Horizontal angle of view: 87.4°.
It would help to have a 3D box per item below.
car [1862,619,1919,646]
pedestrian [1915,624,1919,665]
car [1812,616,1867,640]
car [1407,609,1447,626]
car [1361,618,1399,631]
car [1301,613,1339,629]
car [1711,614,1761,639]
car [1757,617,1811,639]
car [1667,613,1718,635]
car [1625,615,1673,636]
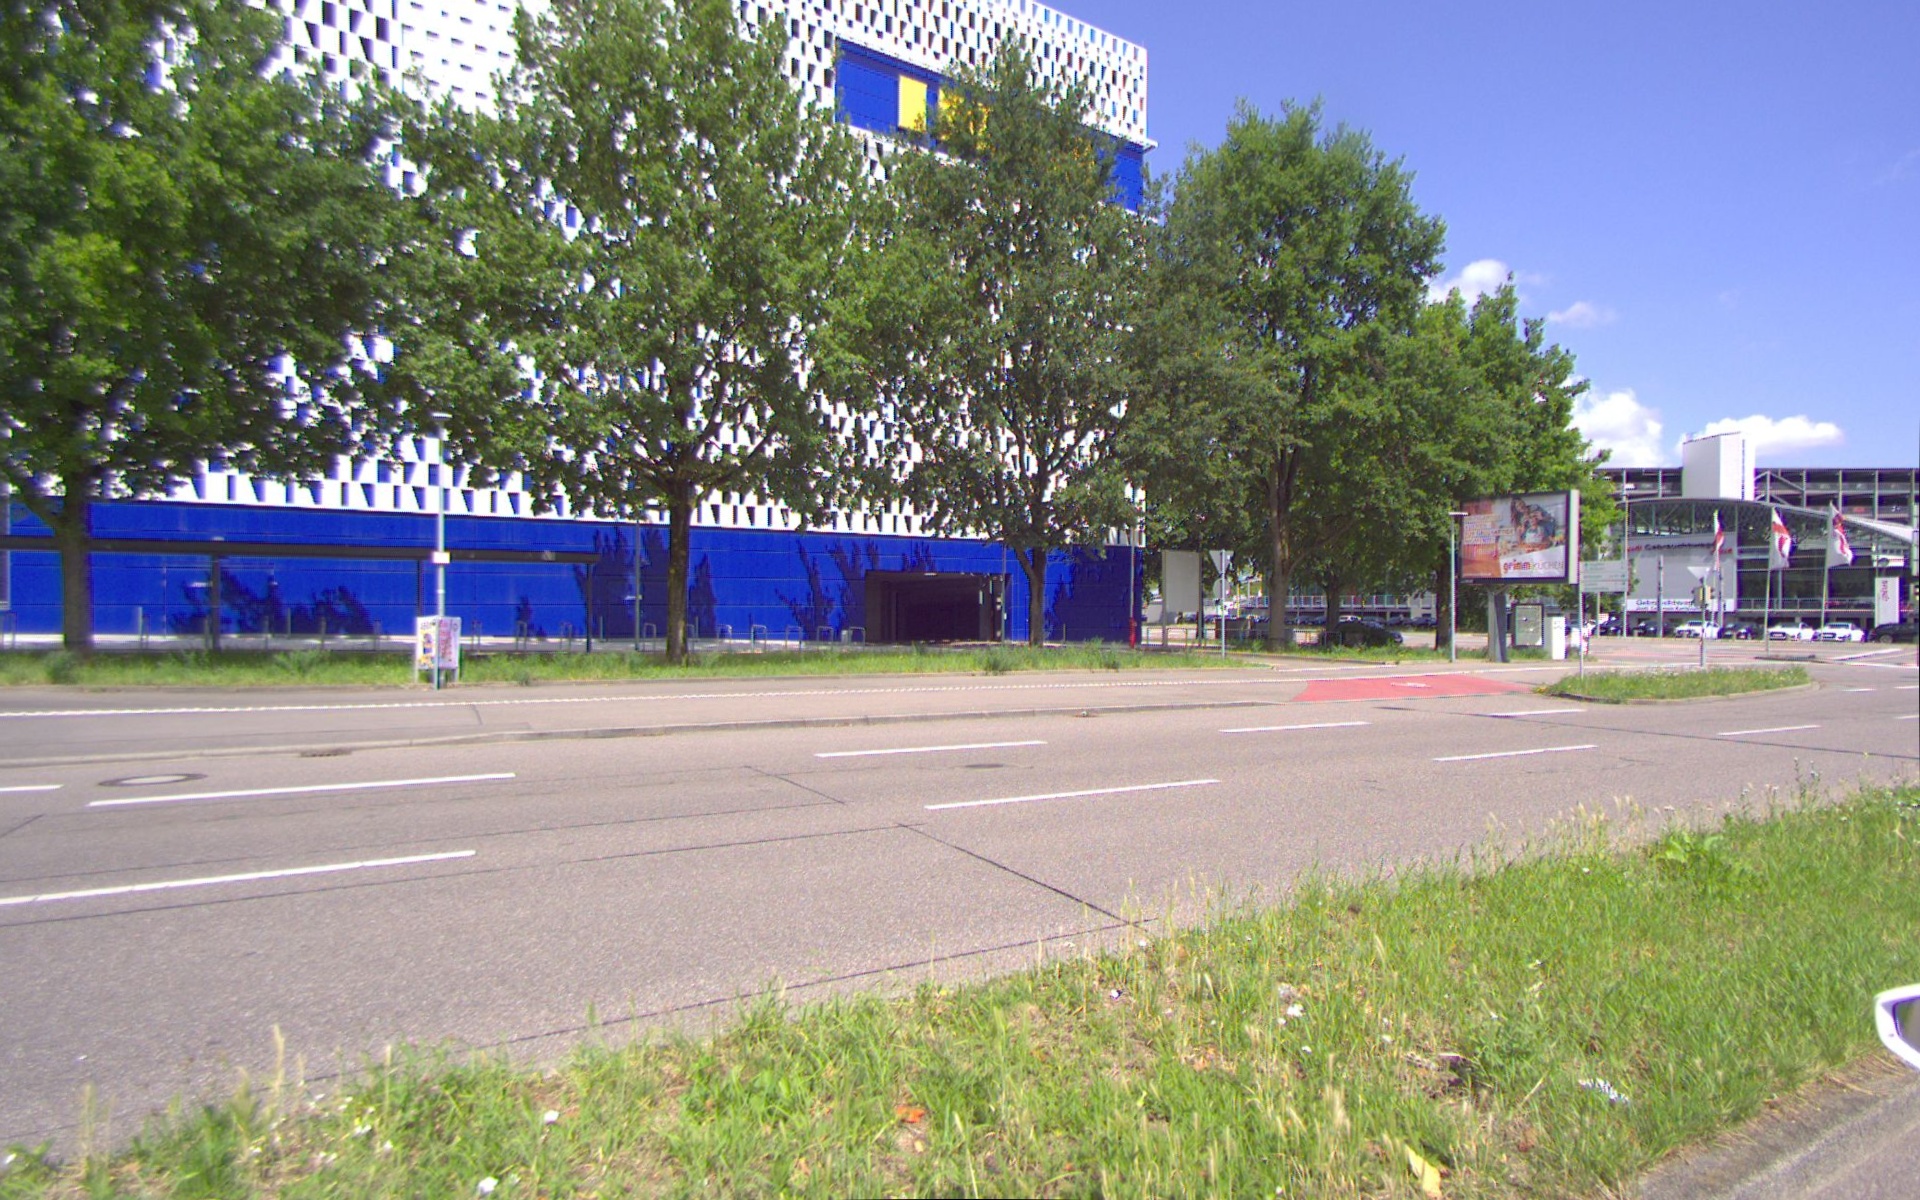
[{"bbox_3d":[59.612,2.049,63.351,1.662,1.533,3.768,0,1,-34],"label":"car"},{"bbox_3d":[36.193,1.683,37.535,0.502,1.532,0.470,1,0,-4],"label":"pedestrian"},{"bbox_3d":[58.178,1.838,66.431,3.987,1.469,1.765,0,1,-34],"label":"car"},{"bbox_3d":[42.902,1.596,92.276,3.662,1.506,1.717,0,1,-34],"label":"car"},{"bbox_3d":[39.429,2.278,94.327,3.462,1.207,1.584,1,-1,-30],"label":"car"},{"bbox_3d":[34.873,2.017,97.243,3.462,1.409,1.583,1,0,-30],"label":"car"},{"bbox_3d":[54.884,1.866,71.046,3.579,1.683,1.746,0,1,-34],"label":"car"},{"bbox_3d":[56.563,1.880,68.952,3.712,1.394,1.896,0,1,-34],"label":"car"},{"bbox_3d":[53.540,1.749,73.450,3.662,1.506,1.868,0,1,-34],"label":"car"},{"bbox_3d":[52.032,1.883,75.845,3.662,1.506,1.717,0,1,-34],"label":"car"}]
